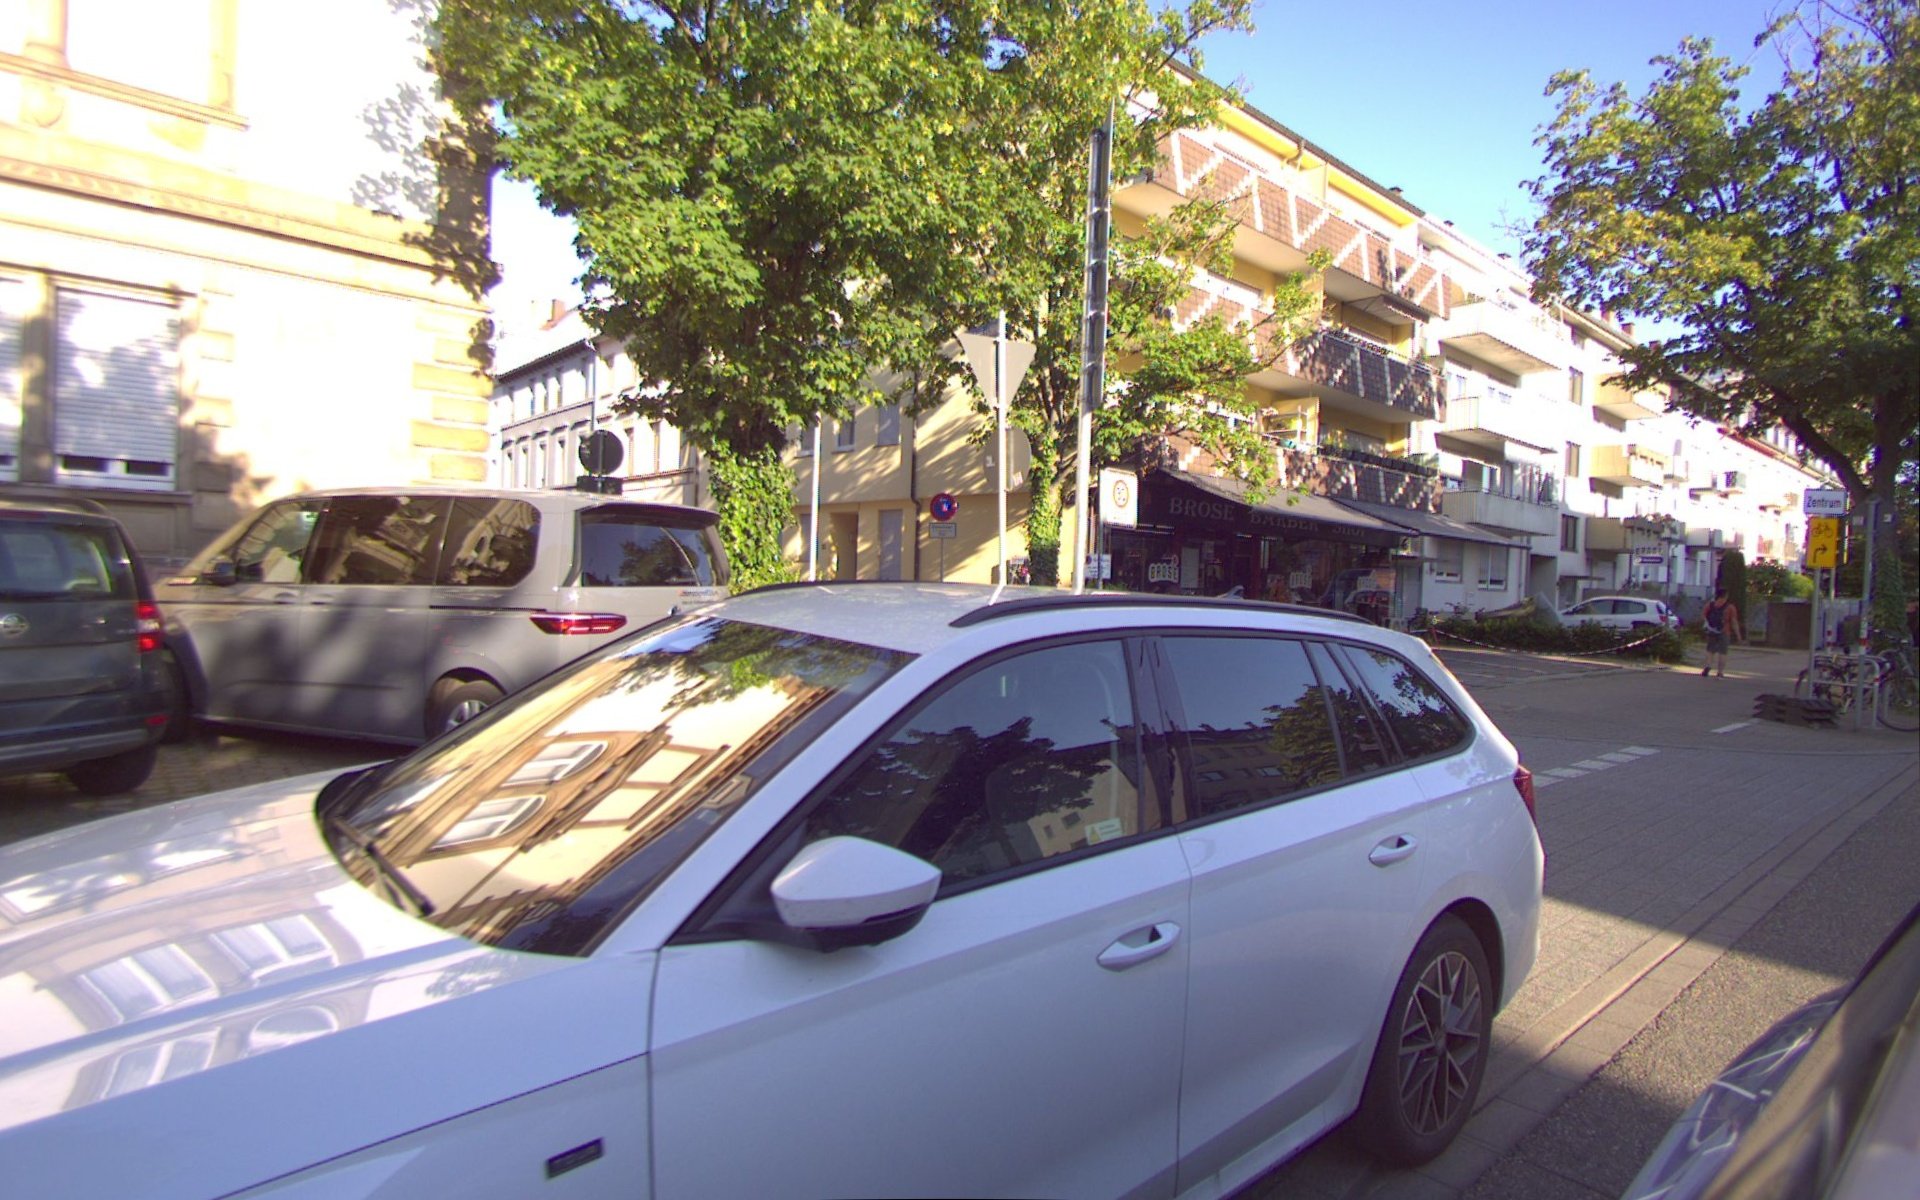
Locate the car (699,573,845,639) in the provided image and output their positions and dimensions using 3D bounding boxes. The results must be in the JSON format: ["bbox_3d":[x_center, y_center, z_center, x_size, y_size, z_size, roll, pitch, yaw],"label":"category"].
[{"bbox_3d":[-4.553,0.080,24.120,1.708,1.377,3.996,-1,3,-39],"label":"car"}]

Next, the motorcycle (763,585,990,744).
[{"bbox_3d":[-0.814,0.522,9.328,2.153,1.255,0.778,2,1,40],"label":"motorcycle"}]

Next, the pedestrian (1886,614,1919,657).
[{"bbox_3d":[24.411,0.901,26.211,0.522,1.072,0.553,1,1,-39],"label":"pedestrian"}]

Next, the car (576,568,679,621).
[{"bbox_3d":[-10.237,-0.214,30.989,1.708,1.472,3.996,-1,3,-39],"label":"car"}]

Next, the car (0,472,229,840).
[{"bbox_3d":[-6.316,0.167,5.570,4.049,1.720,1.776,3,2,20],"label":"car"}]

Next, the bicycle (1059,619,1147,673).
[{"bbox_3d":[2.276,0.713,16.053,1.504,0.777,0.486,0,1,-40],"label":"bicycle"}]

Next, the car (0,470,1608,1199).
[{"bbox_3d":[-0.236,0.619,2.480,4.540,1.496,1.825,0,1,-41],"label":"car"}]

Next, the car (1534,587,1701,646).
[{"bbox_3d":[19.352,0.429,29.893,1.550,1.523,3.869,0,2,-45],"label":"car"}]

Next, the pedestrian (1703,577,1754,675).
[{"bbox_3d":[14.594,0.484,19.216,0.552,1.794,0.619,2,0,-40],"label":"pedestrian"}]

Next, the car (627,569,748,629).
[{"bbox_3d":[-7.473,-0.094,27.567,1.708,1.472,3.996,-1,3,-39],"label":"car"}]

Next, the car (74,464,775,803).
[{"bbox_3d":[-3.994,0.101,7.537,4.880,1.923,1.907,2,1,21],"label":"car"}]

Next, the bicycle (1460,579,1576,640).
[{"bbox_3d":[14.477,0.226,26.316,0.912,1.459,2.457,1,1,-42],"label":"bicycle"}]

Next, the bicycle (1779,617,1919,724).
[{"bbox_3d":[11.737,0.879,12.967,0.602,1.176,1.905,1,3,-14],"label":"bicycle"}]

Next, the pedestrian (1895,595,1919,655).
[{"bbox_3d":[23.787,0.628,24.995,0.798,1.462,0.916,1,1,-42],"label":"pedestrian"}]

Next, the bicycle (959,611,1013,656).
[{"bbox_3d":[0.466,0.585,17.974,0.896,0.752,0.428,1,1,-40],"label":"bicycle"}]
